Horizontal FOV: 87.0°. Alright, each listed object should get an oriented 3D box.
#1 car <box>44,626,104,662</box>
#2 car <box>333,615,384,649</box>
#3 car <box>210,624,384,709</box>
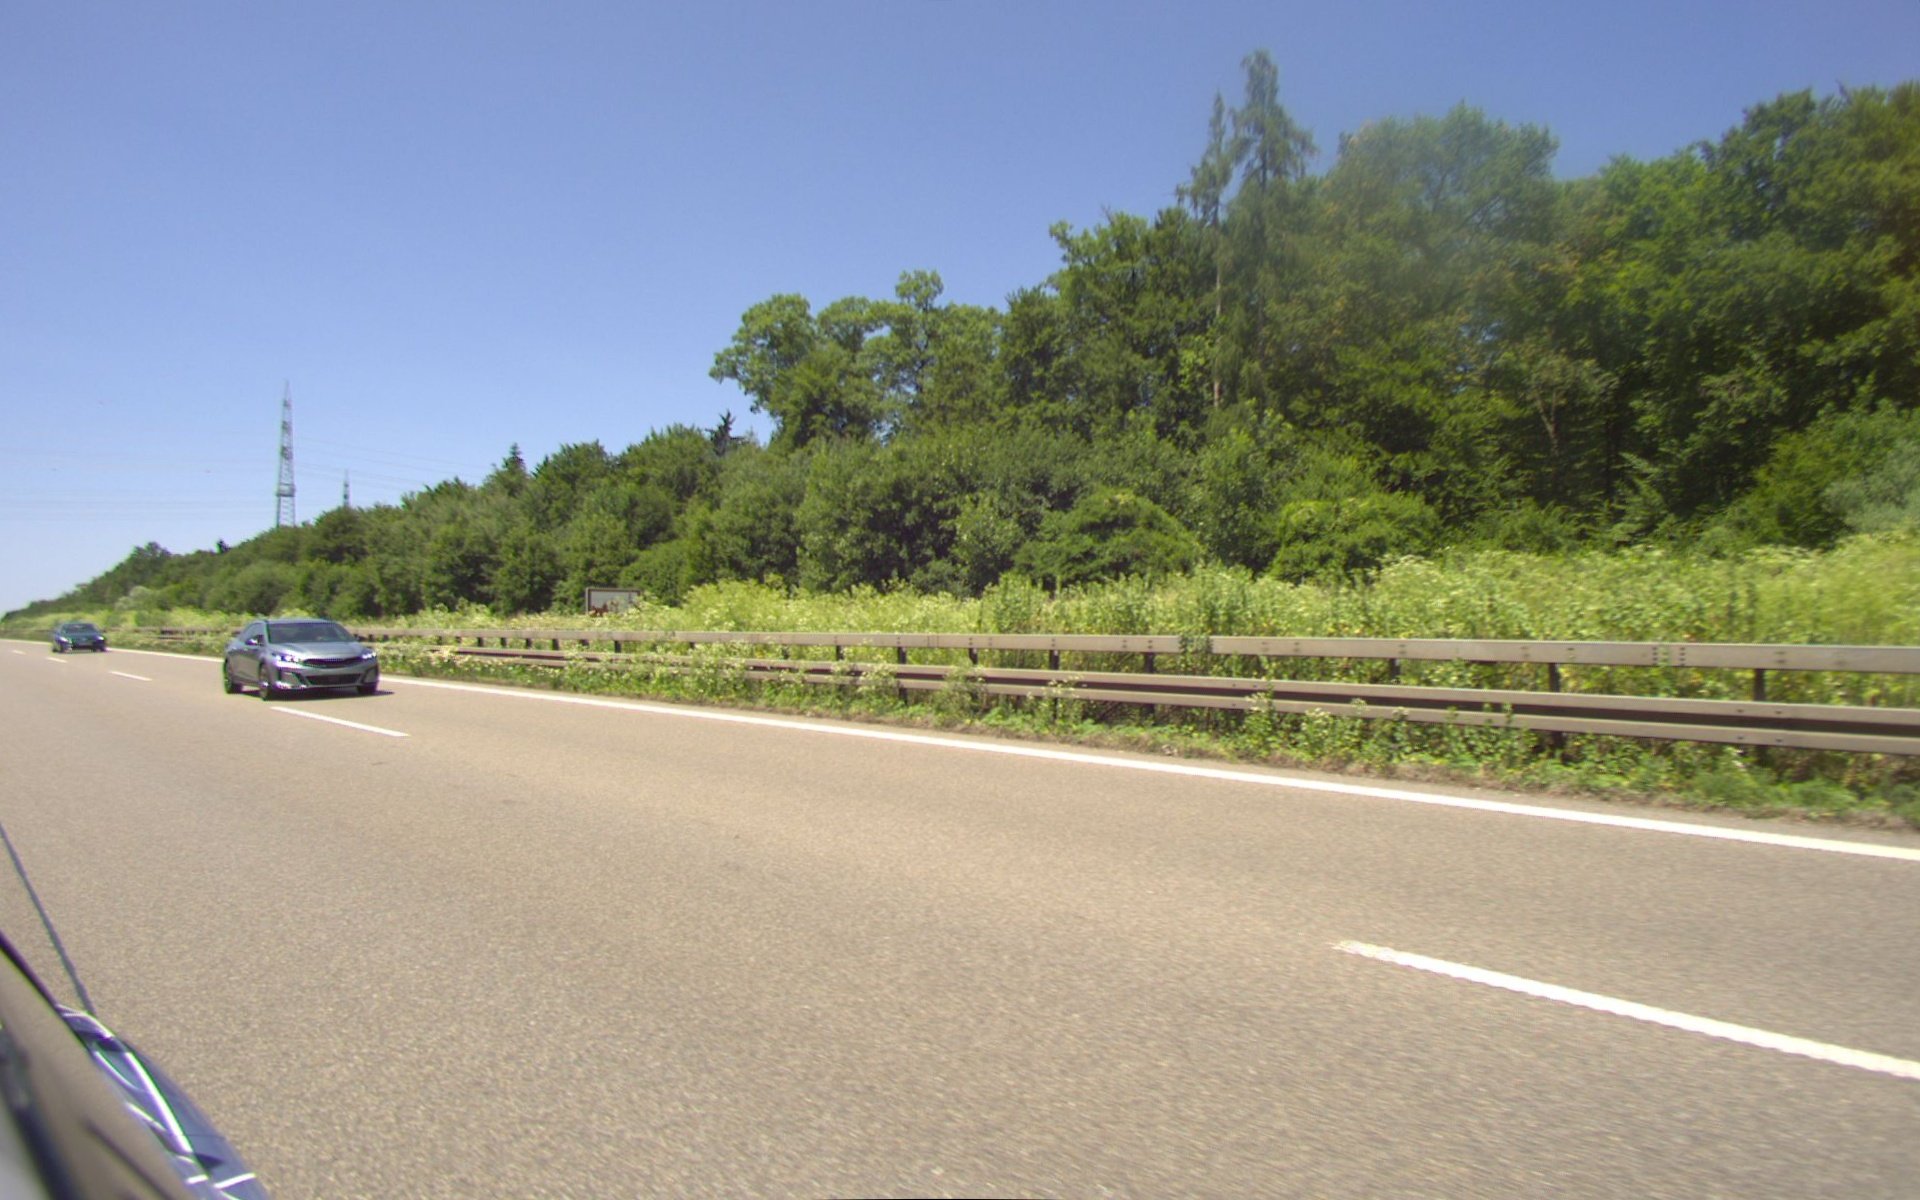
[{"bbox_3d":[-42.536,2.078,48.554,3.942,1.632,1.719,-1,-1,42],"label":"car"},{"bbox_3d":[-37.082,1.969,62.383,3.616,2.029,1.681,-1,-1,42],"label":"car"},{"bbox_3d":[-12.625,1.182,19.189,3.997,1.419,1.745,-1,-1,41],"label":"car"}]
